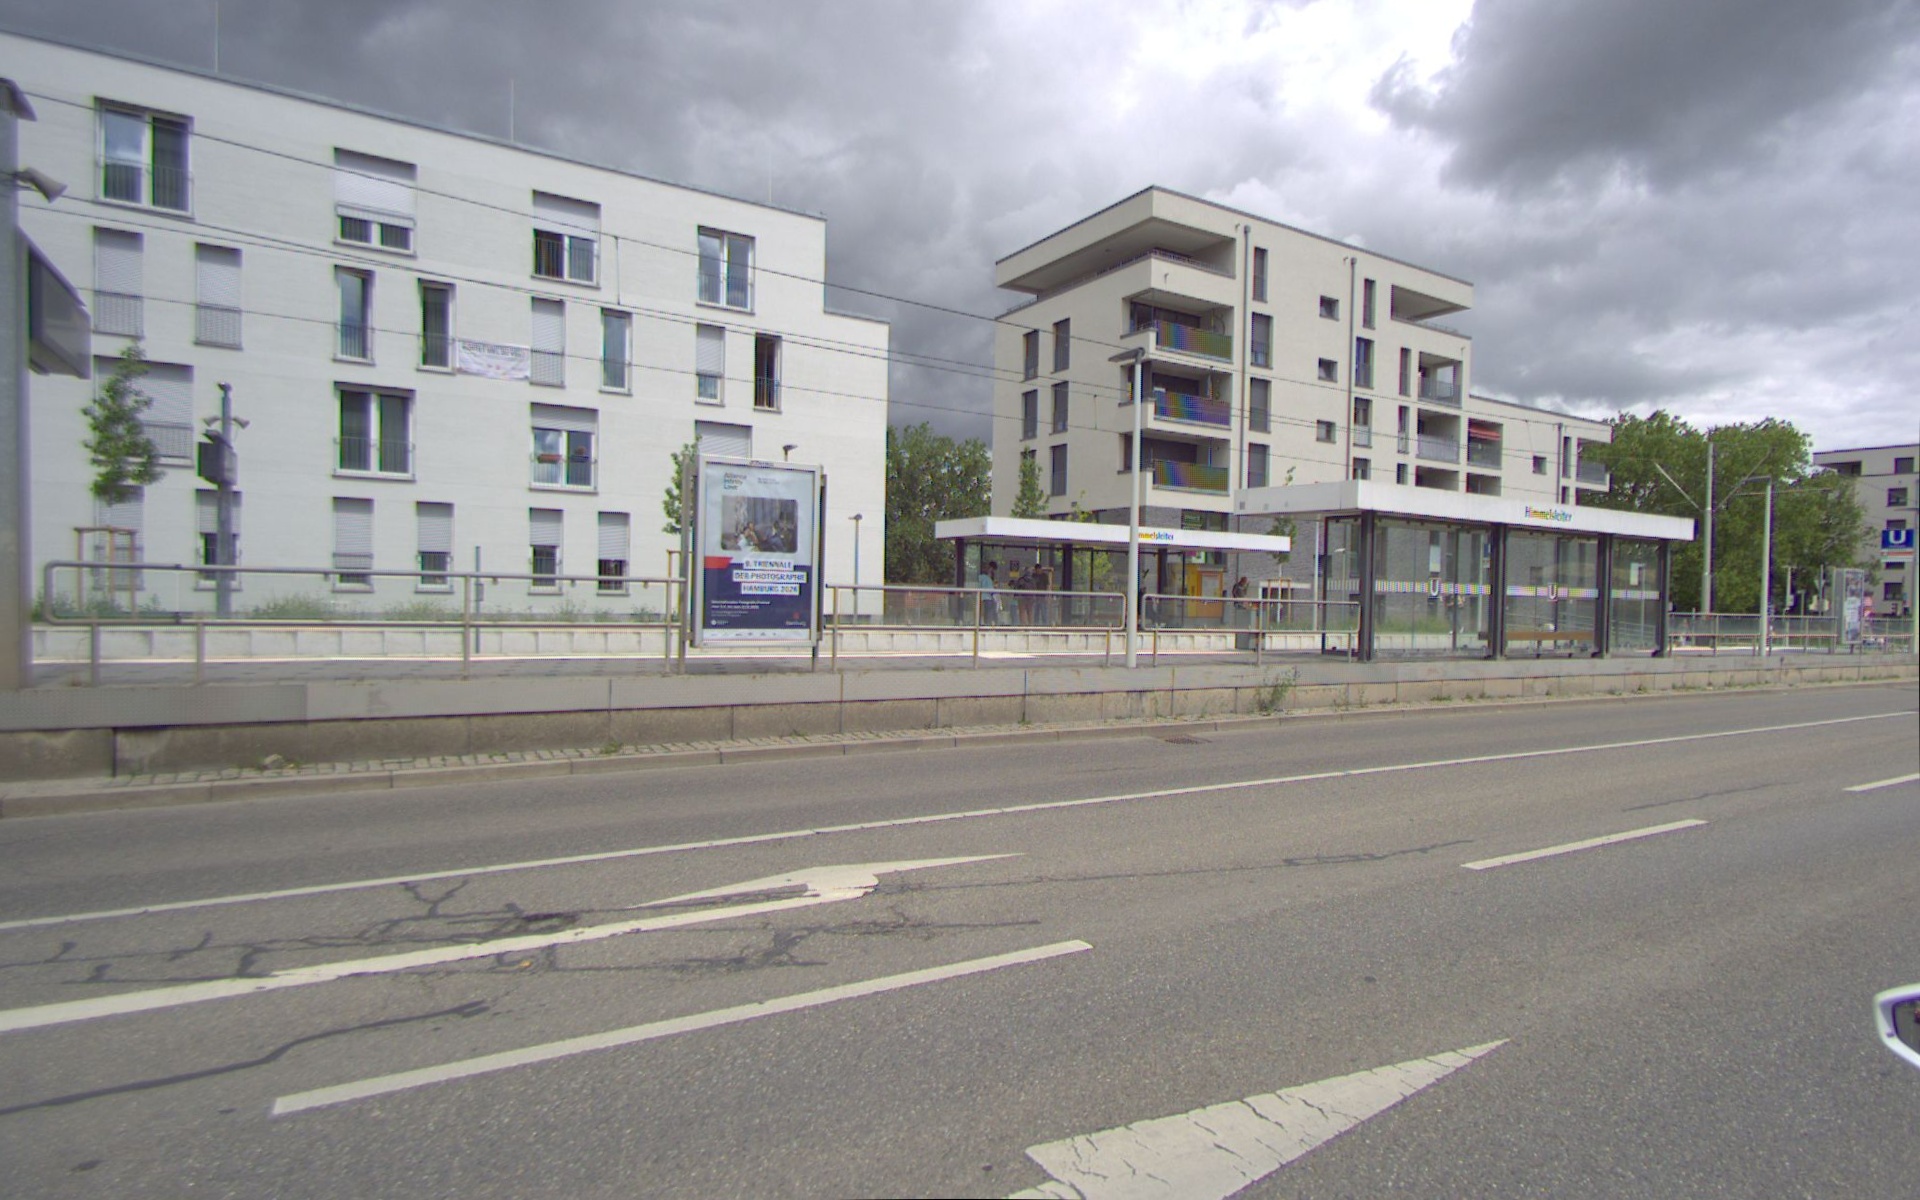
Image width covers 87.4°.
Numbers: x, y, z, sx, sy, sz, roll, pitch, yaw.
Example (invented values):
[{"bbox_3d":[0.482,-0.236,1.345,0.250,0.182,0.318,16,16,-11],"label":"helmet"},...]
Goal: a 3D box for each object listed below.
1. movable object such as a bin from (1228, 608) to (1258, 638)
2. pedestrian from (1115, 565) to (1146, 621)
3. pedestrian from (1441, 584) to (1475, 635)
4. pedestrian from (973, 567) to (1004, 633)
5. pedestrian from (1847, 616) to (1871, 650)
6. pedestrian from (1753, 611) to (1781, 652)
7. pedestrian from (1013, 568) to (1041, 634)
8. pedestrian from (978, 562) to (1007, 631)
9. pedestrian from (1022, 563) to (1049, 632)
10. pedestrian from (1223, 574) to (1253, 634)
[{"bbox_3d":[8.513,0.683,30.199,0.669,0.861,0.559,1,1,-30],"label":"movable object such as a bin"},{"bbox_3d":[4.902,-0.195,28.884,0.669,1.575,0.559,1,1,-30],"label":"pedestrian"},{"bbox_3d":[17.563,0.335,35.416,0.924,1.789,0.671,1,1,-34],"label":"pedestrian"},{"bbox_3d":[0.712,0.003,25.040,0.664,1.618,0.489,1,1,12],"label":"pedestrian"},{"bbox_3d":[59.374,2.168,66.327,0.924,2.162,0.910,1,1,-32],"label":"pedestrian"},{"bbox_3d":[44.526,1.722,55.429,0.872,2.234,0.910,1,1,-32],"label":"pedestrian"},{"bbox_3d":[1.661,0.022,25.068,0.664,1.618,0.489,1,1,3],"label":"pedestrian"},{"bbox_3d":[0.838,-0.089,25.763,0.479,1.748,0.677,1,1,24],"label":"pedestrian"},{"bbox_3d":[2.013,-0.067,26.731,0.664,1.789,0.489,1,1,3],"label":"pedestrian"},{"bbox_3d":[8.501,0.119,30.696,0.669,1.789,0.559,1,1,-30],"label":"pedestrian"}]
